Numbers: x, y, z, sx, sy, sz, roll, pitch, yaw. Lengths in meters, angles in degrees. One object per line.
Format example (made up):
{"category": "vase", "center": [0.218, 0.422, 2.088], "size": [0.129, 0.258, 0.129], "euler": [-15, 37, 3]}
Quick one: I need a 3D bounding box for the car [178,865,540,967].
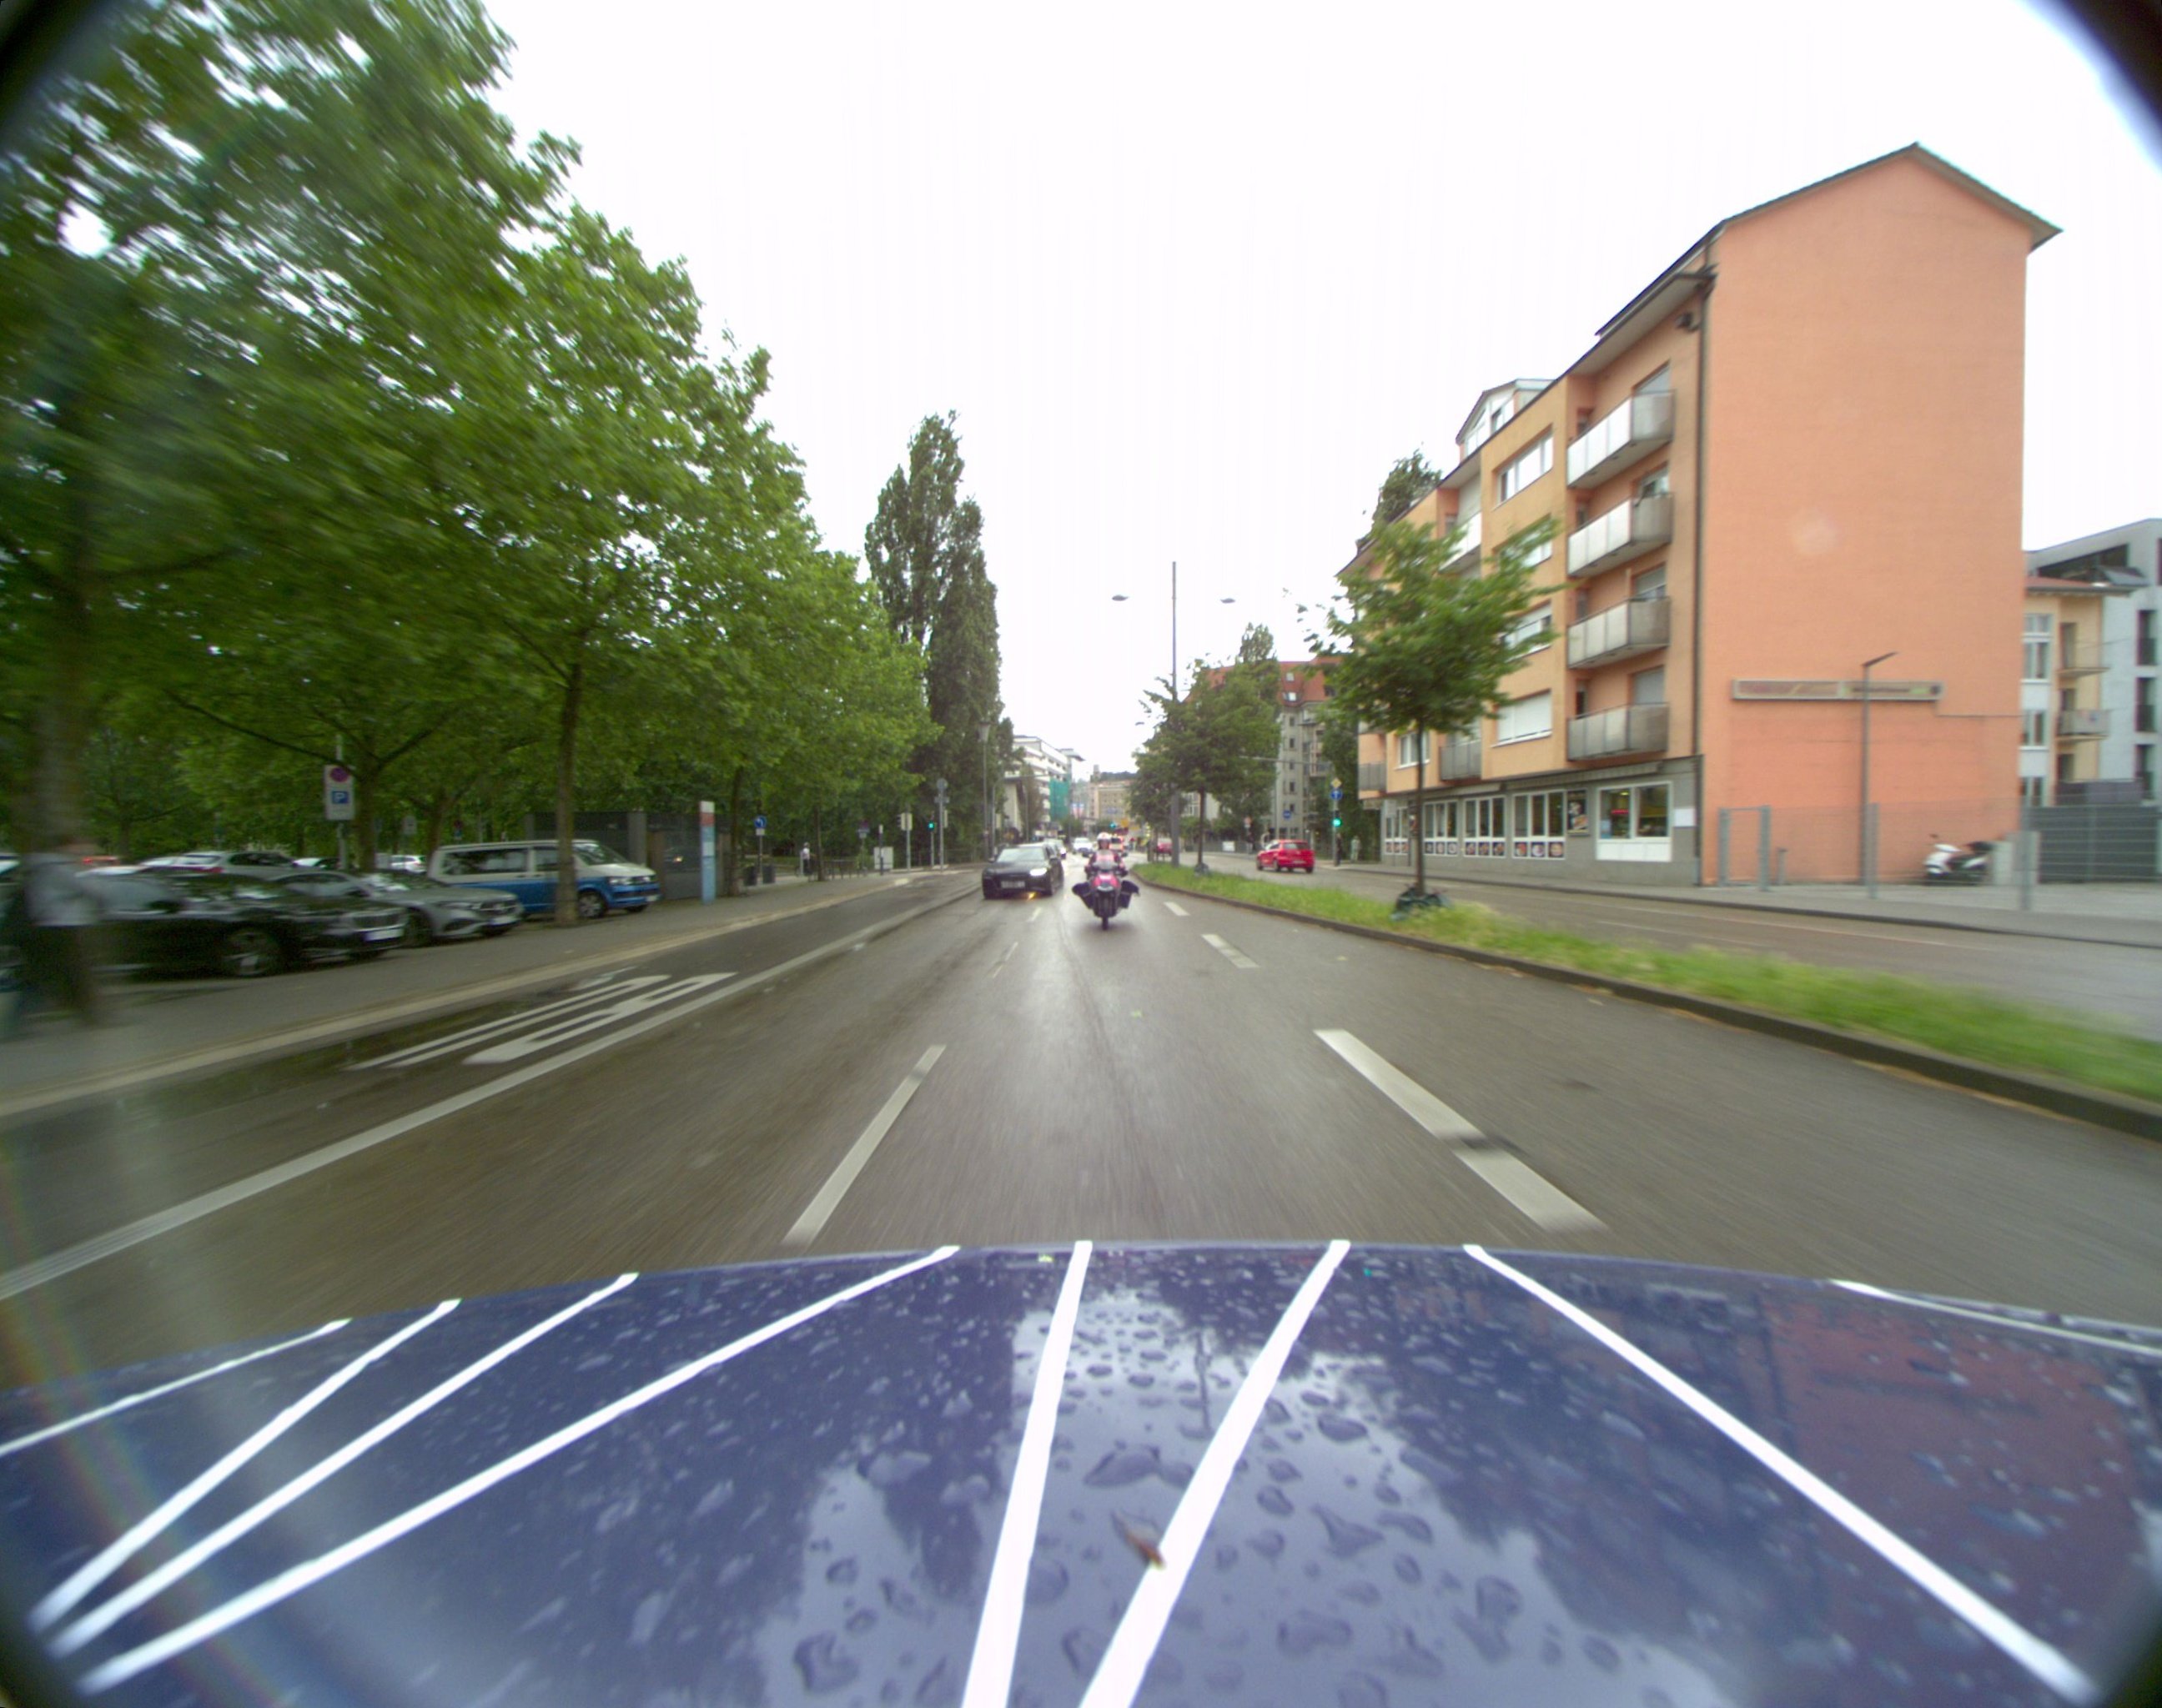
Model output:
{"category": "car", "center": [-12.942, 1.067, 13.844], "size": [4.750, 1.397, 1.862], "euler": [-3, 2, 1]}

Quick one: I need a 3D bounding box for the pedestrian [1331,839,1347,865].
{"category": "pedestrian", "center": [16.977, -0.117, 50.016], "size": [0.748, 1.681, 0.681], "euler": [-1, 2, -34]}

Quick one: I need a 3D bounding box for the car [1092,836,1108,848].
{"category": "car", "center": [2.358, -1.480, 94.272], "size": [1.670, 1.456, 3.253], "euler": [0, 2, -4]}

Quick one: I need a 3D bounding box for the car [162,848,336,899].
{"category": "car", "center": [-31.610, 0.660, 29.111], "size": [1.781, 1.679, 4.442], "euler": [-2, 2, -3]}

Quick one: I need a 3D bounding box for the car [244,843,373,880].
{"category": "car", "center": [-34.533, 0.292, 34.124], "size": [1.781, 1.498, 3.879], "euler": [-2, 2, -1]}

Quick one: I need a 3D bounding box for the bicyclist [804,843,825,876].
{"category": "bicyclist", "center": [-14.431, 0.287, 41.208], "size": [0.988, 1.760, 0.795], "euler": [-2, 2, -18]}

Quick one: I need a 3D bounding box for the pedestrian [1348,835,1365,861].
{"category": "pedestrian", "center": [17.860, -0.386, 49.251], "size": [0.684, 1.639, 0.744], "euler": [-2, 2, -39]}

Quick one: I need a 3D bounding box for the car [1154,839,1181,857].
{"category": "car", "center": [7.213, -0.521, 63.337], "size": [1.571, 1.385, 3.832], "euler": [1, 2, -3]}

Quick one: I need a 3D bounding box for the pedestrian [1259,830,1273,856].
{"category": "pedestrian", "center": [13.697, -0.804, 56.293], "size": [0.746, 1.876, 0.799], "euler": [0, 2, -5]}

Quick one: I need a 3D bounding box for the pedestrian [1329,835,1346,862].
{"category": "pedestrian", "center": [13.908, -0.292, 41.198], "size": [0.561, 1.433, 0.608], "euler": [-5, 2, -22]}

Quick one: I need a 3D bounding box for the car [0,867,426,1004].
{"category": "car", "center": [-12.333, 1.071, 10.668], "size": [4.413, 1.476, 1.862], "euler": [-3, 2, -4]}

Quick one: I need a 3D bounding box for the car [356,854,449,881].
{"category": "car", "center": [-38.738, 0.736, 43.455], "size": [3.827, 1.455, 1.466], "euler": [0, 2, -5]}

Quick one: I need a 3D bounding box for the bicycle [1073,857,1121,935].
{"category": "bicycle", "center": [0.264, 0.743, 14.042], "size": [0.717, 1.297, 2.427], "euler": [1, -1, -2]}

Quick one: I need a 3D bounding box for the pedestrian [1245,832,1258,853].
{"category": "pedestrian", "center": [13.511, -0.922, 60.128], "size": [0.767, 1.686, 0.799], "euler": [0, 2, -5]}

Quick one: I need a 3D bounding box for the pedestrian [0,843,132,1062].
{"category": "pedestrian", "center": [-9.261, 0.832, 6.848], "size": [0.732, 1.831, 0.759], "euler": [1, 3, 42]}

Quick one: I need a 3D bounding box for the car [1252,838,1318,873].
{"category": "car", "center": [9.167, 0.027, 34.499], "size": [1.608, 1.422, 3.942], "euler": [2, 2, -5]}

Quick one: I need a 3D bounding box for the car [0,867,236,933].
{"category": "car", "center": [-23.987, 1.073, 19.096], "size": [1.532, 1.419, 3.834], "euler": [1, 0, -7]}

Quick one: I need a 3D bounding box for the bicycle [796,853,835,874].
{"category": "bicycle", "center": [-14.403, 0.492, 41.223], "size": [1.935, 1.088, 0.649], "euler": [-1, 2, -18]}

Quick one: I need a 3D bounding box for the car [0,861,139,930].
{"category": "car", "center": [-26.110, 0.991, 18.638], "size": [1.571, 1.583, 3.610], "euler": [1, 0, -1]}

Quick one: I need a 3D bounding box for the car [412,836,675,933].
{"category": "car", "center": [-12.838, 0.681, 18.370], "size": [4.847, 1.932, 1.950], "euler": [-4, 2, 1]}

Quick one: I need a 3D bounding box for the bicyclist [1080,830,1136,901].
{"category": "bicyclist", "center": [0.491, 0.221, 13.689], "size": [0.963, 1.219, 0.715], "euler": [-2, -2, 3]}

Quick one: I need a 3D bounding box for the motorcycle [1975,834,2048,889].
{"category": "motorcycle", "center": [25.537, 0.193, 20.854], "size": [1.467, 1.454, 0.396], "euler": [2, 2, -2]}

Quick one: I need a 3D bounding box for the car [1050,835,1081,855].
{"category": "car", "center": [-1.212, -0.701, 58.541], "size": [1.898, 1.413, 4.357], "euler": [1, 1, -7]}

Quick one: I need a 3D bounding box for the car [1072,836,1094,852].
{"category": "car", "center": [0.157, -0.971, 74.290], "size": [1.897, 1.567, 4.359], "euler": [1, 1, -3]}

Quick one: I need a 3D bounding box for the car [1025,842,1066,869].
{"category": "car", "center": [-1.903, 0.043, 41.947], "size": [1.896, 1.391, 4.361], "euler": [1, 1, 2]}

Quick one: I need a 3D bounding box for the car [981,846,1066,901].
{"category": "car", "center": [-1.609, 0.510, 22.823], "size": [1.896, 1.396, 4.361], "euler": [-1, 1, 4]}

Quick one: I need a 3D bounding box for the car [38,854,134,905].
{"category": "car", "center": [-34.810, 0.821, 26.567], "size": [3.988, 1.573, 1.757], "euler": [1, 2, 34]}
